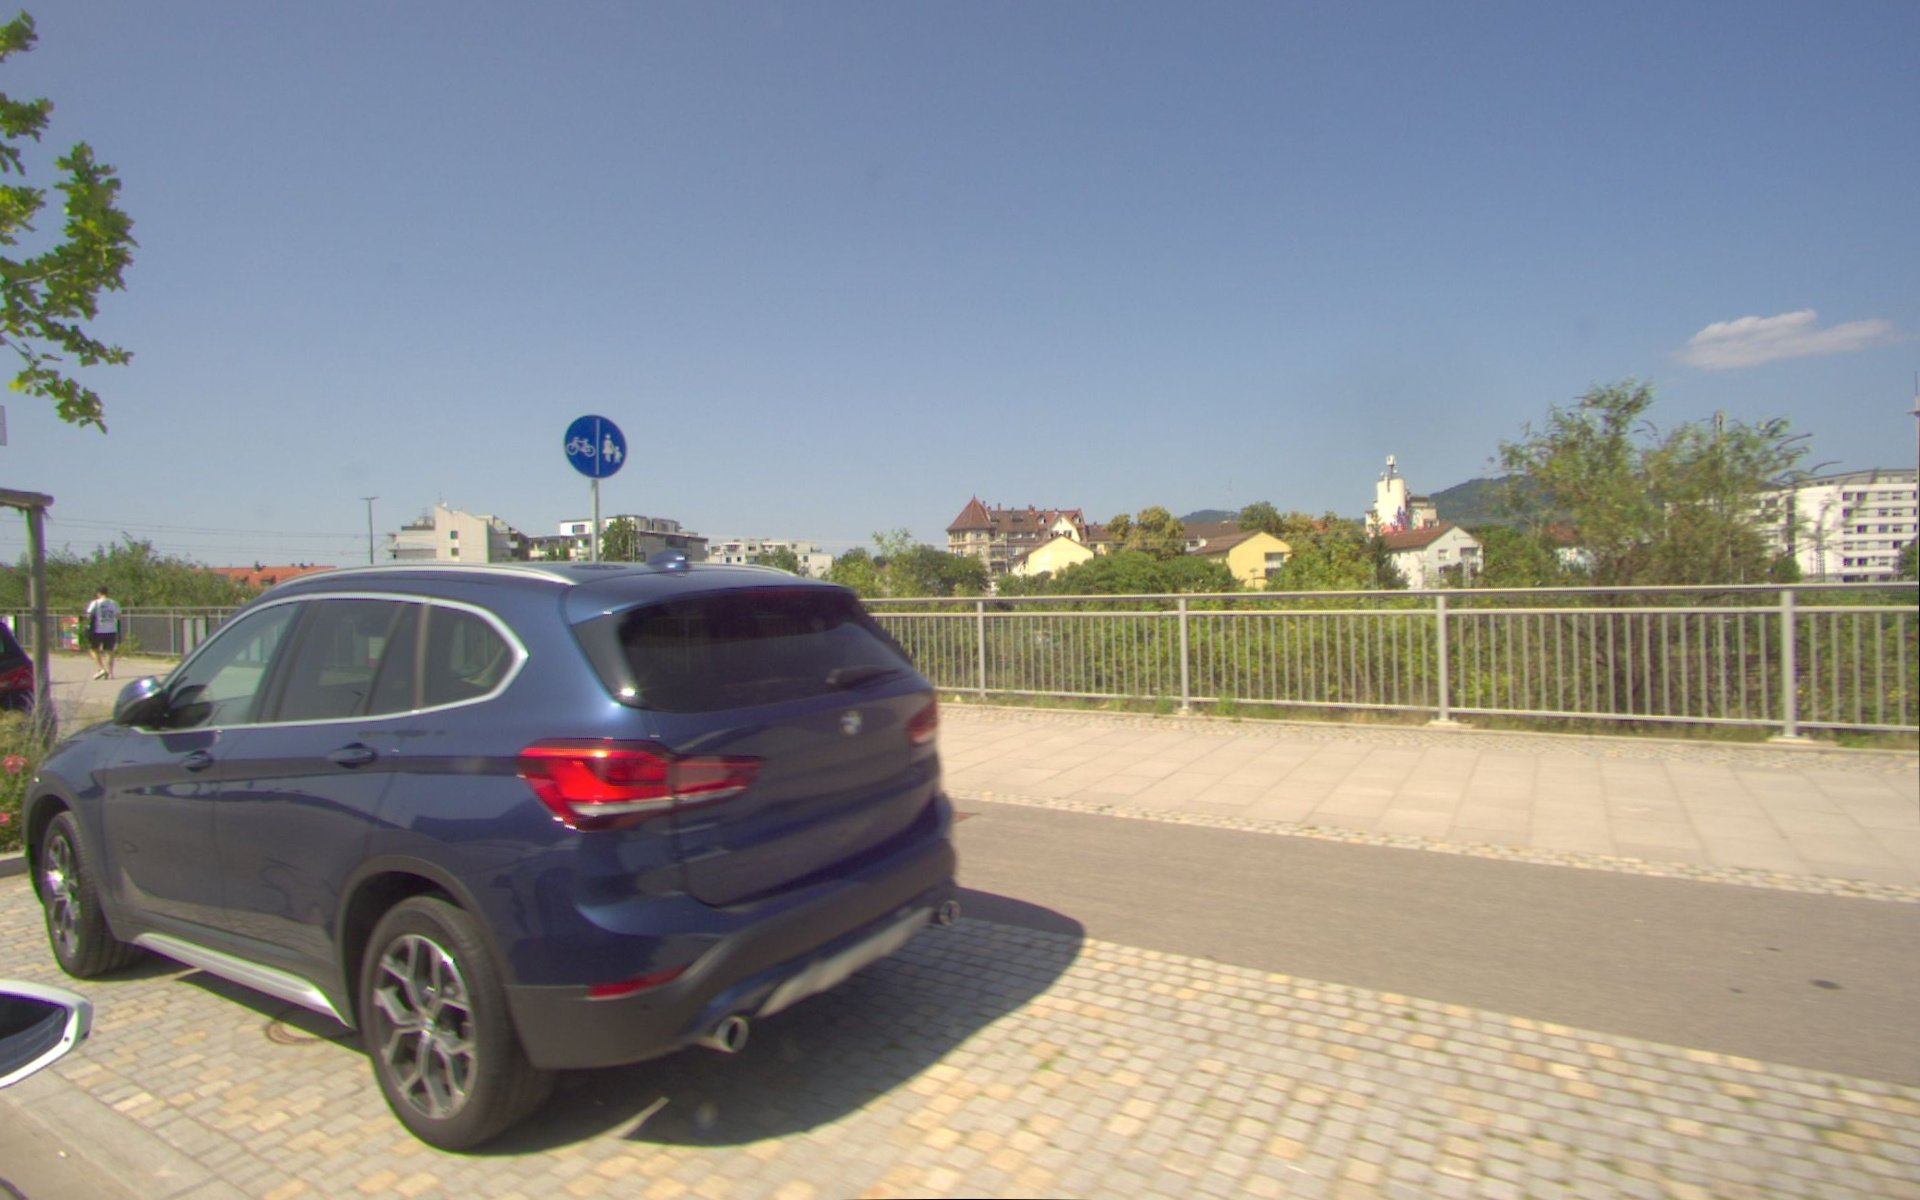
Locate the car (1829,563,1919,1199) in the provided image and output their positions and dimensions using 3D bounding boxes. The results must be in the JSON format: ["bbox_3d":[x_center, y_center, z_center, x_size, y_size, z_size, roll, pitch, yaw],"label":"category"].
[{"bbox_3d":[3.460,0.612,0.597,4.210,1.392,1.701,-2,3,32],"label":"car"}]

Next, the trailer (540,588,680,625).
[{"bbox_3d":[-34.555,0.789,100.440,3.674,3.244,17.239,-1,-2,17],"label":"trailer"}]

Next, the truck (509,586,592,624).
[{"bbox_3d":[-37.340,0.493,91.557,3.672,3.244,6.483,-1,-2,18],"label":"truck"}]

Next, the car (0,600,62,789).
[{"bbox_3d":[-9.752,0.826,8.977,3.496,1.577,1.577,0,3,32],"label":"car"}]

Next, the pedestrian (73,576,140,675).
[{"bbox_3d":[-16.428,0.492,19.270,0.872,1.853,0.757,-1,-1,33],"label":"pedestrian"}]

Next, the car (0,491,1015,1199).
[{"bbox_3d":[-2.068,0.638,4.078,4.210,1.706,1.799,-1,1,32],"label":"car"}]
